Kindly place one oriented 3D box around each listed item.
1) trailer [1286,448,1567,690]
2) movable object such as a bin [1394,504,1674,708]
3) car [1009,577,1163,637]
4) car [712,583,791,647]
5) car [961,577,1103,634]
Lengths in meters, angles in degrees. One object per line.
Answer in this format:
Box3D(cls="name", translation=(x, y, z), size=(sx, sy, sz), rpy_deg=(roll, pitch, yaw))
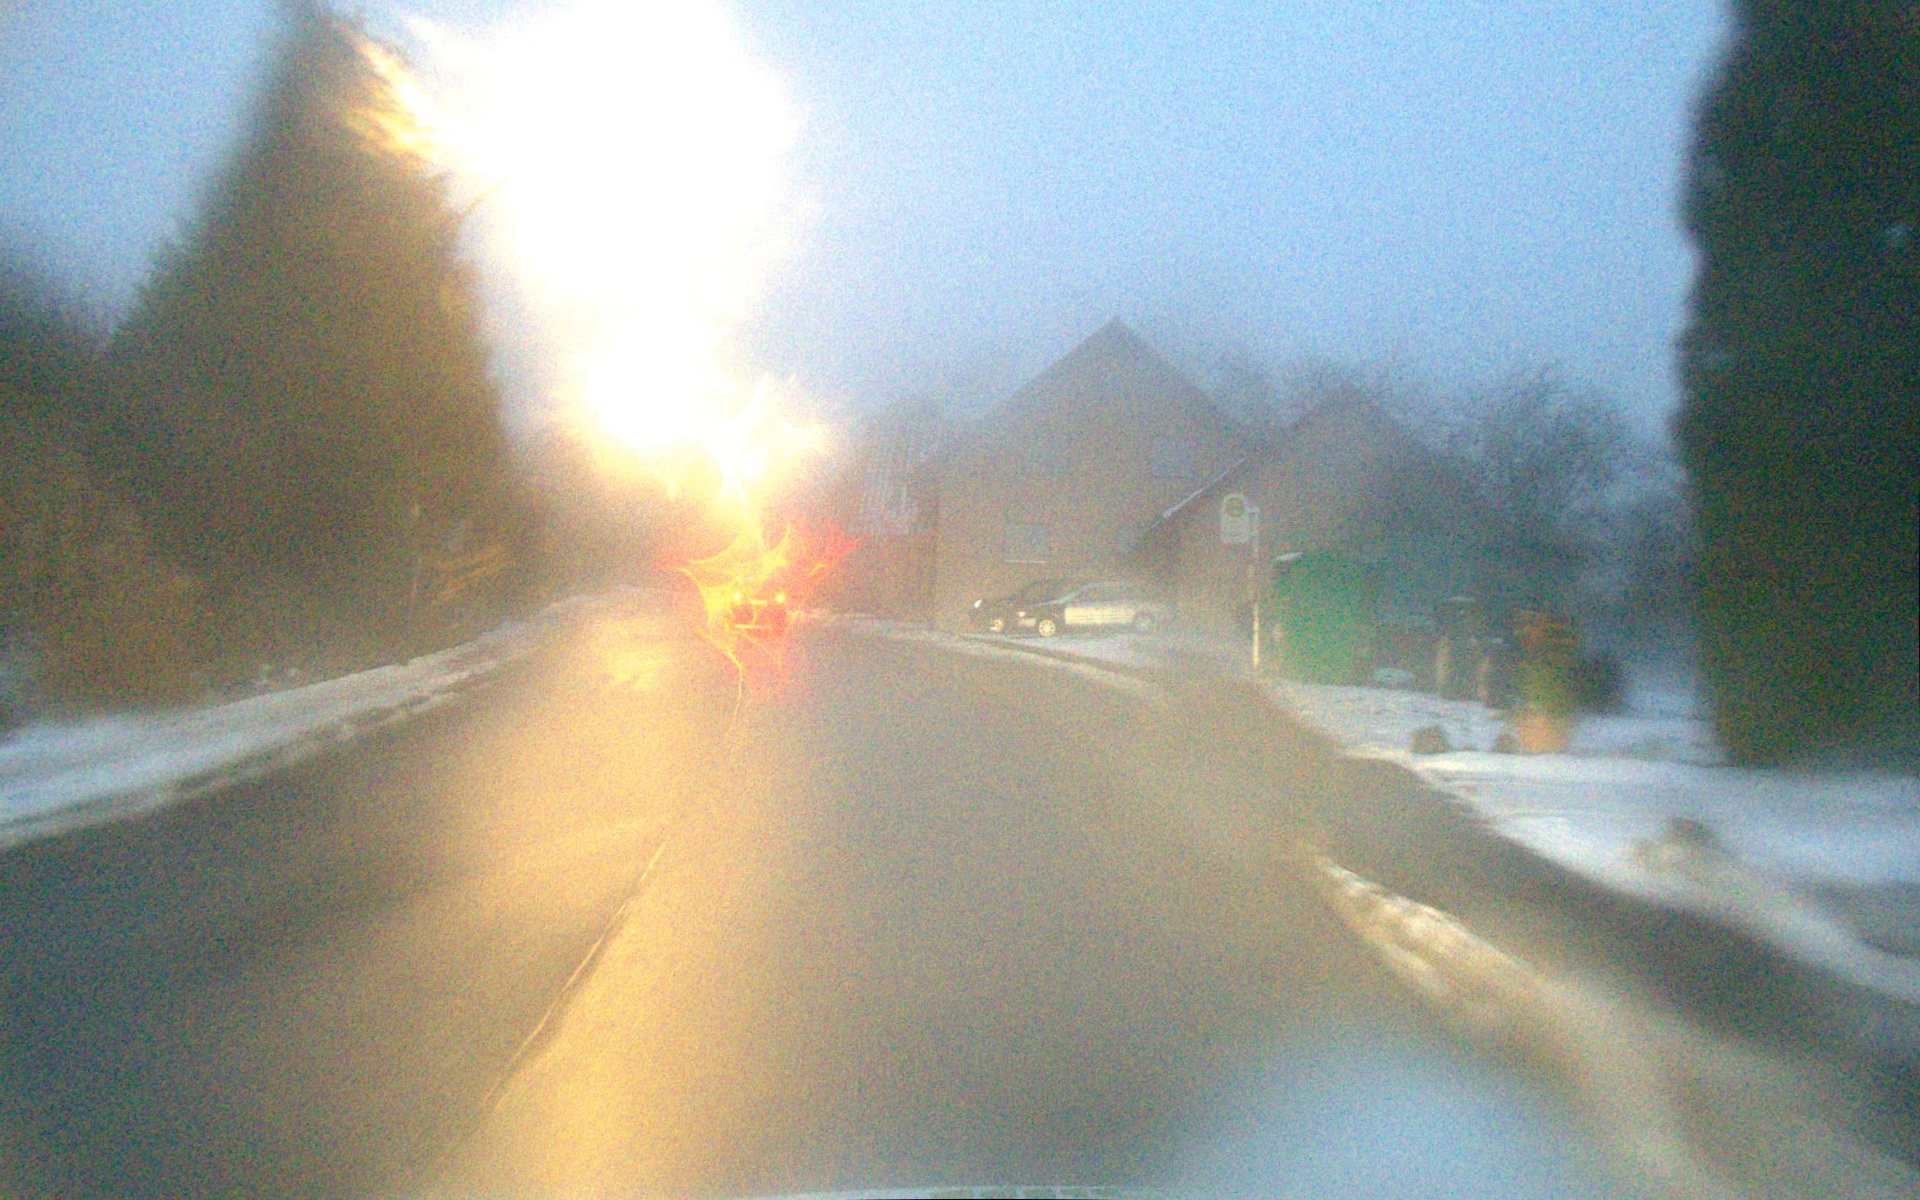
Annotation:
Box3D(cls="trailer", translation=(7.681, -0.447, 27.934), size=(2.820, 3.623, 5.055), rpy_deg=(2, -1, -6))
Box3D(cls="movable object such as a bin", translation=(7.910, 0.097, 23.323), size=(2.338, 2.512, 4.515), rpy_deg=(2, -1, 0))
Box3D(cls="car", translation=(3.476, 0.208, 45.754), size=(4.153, 1.586, 2.000), rpy_deg=(0, -2, 3))
Box3D(cls="car", translation=(-6.288, 0.489, 49.568), size=(1.959, 1.767, 3.865), rpy_deg=(1, -2, -13))
Box3D(cls="car", translation=(2.080, 0.189, 48.716), size=(4.074, 1.586, 1.945), rpy_deg=(0, -2, -2))
